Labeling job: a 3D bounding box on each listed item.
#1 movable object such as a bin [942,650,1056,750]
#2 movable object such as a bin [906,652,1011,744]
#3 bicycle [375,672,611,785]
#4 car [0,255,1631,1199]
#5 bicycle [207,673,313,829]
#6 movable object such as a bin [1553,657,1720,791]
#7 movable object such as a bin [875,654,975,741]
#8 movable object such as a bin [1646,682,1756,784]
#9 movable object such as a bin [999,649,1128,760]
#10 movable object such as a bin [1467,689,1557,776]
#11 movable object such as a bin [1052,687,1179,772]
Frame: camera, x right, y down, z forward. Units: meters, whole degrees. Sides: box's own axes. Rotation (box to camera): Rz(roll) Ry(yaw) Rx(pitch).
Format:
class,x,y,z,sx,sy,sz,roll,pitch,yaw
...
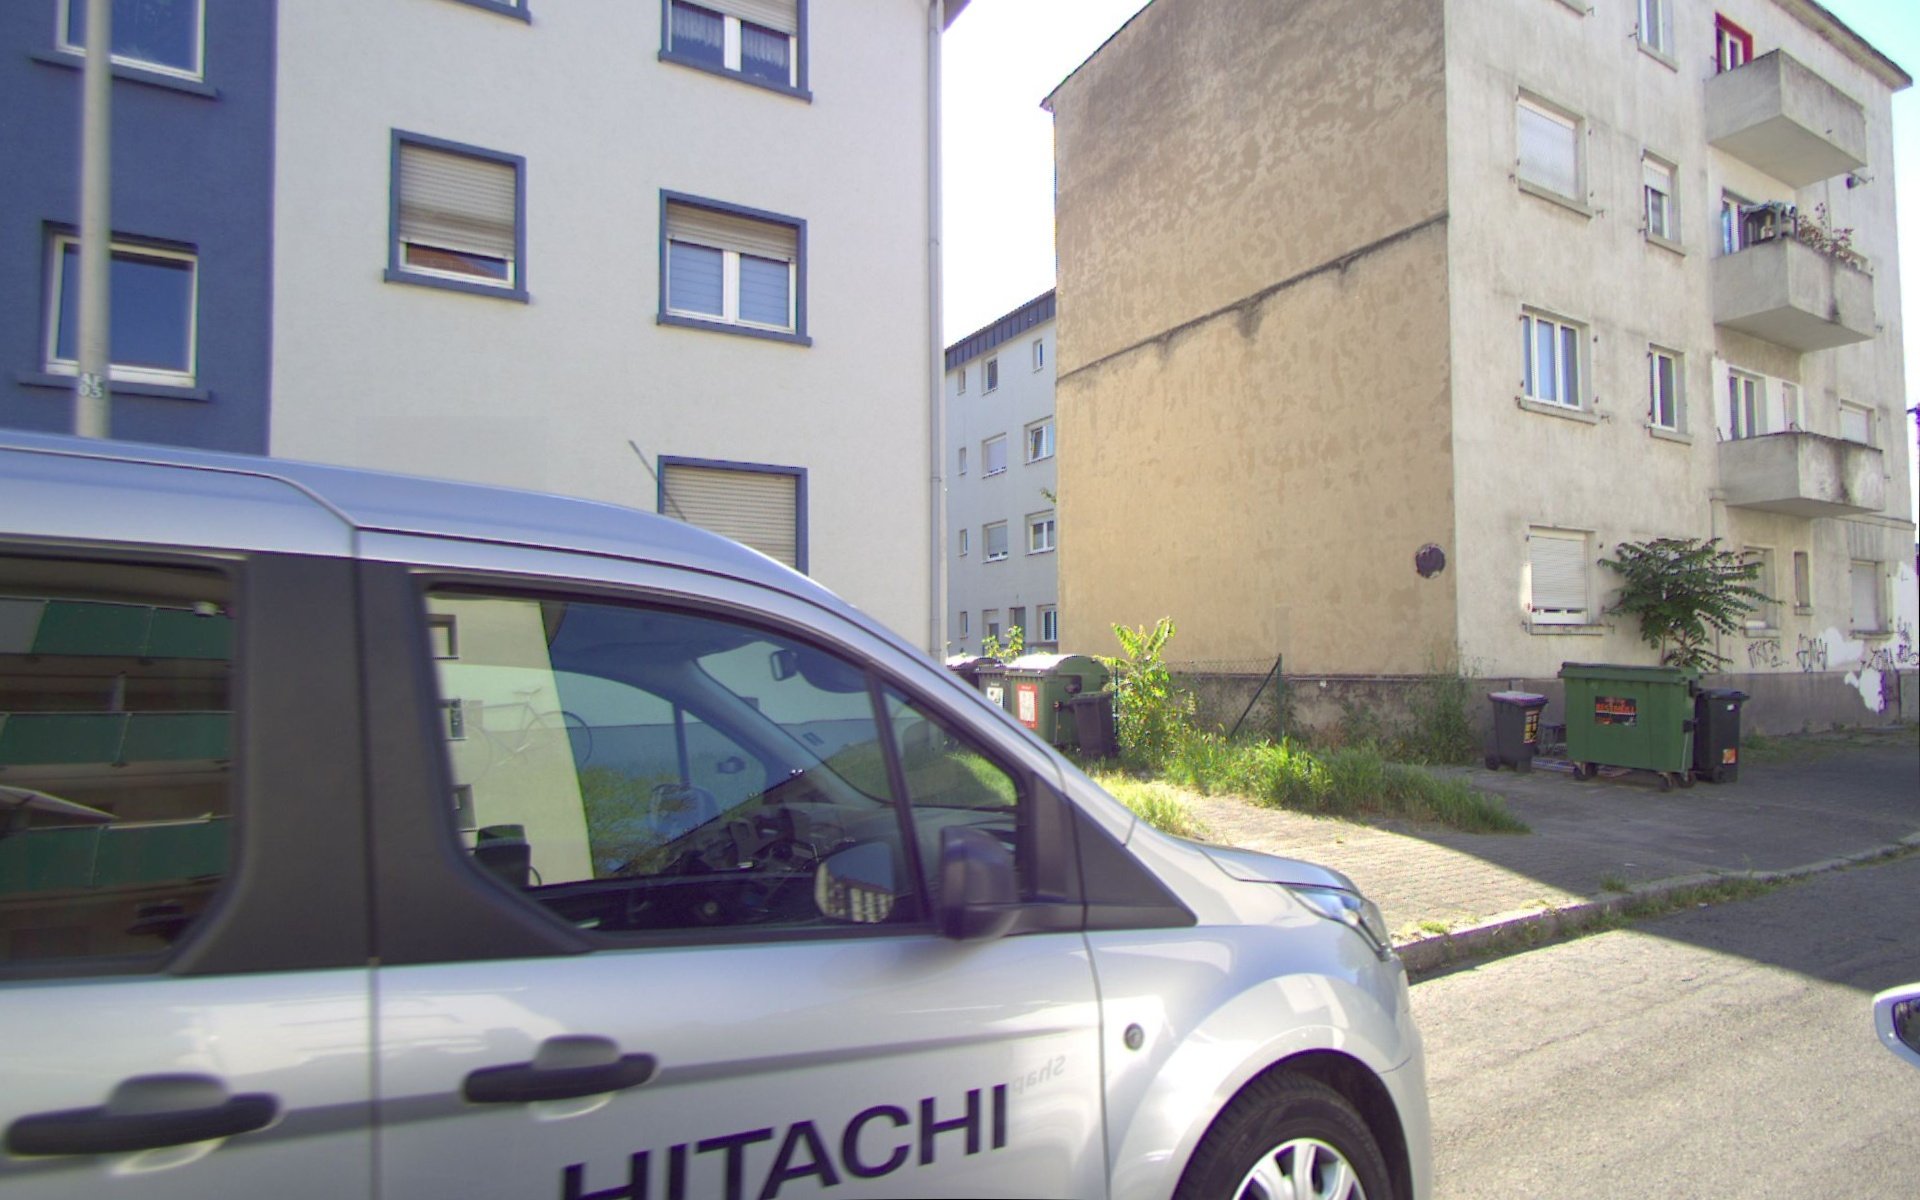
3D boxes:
class,x,y,z,sx,sy,sz,roll,pitch,yaw
movable object such as a bin,0.600,1.542,15.712,1.420,1.475,1.125,3,-5,-30
movable object such as a bin,-0.032,1.638,16.885,1.420,1.464,1.125,3,-5,-30
bicycle,-4.560,1.228,9.893,2.050,0.974,0.497,2,0,-30
car,-0.992,0.672,1.964,4.891,1.853,1.793,2,-6,-30
bicycle,-5.680,1.159,8.231,0.495,0.974,2.058,1,0,-29
movable object such as a bin,7.690,1.361,11.452,1.033,1.394,1.249,2,-3,-31
movable object such as a bin,-0.629,1.725,17.888,1.420,1.464,1.125,3,-5,-30
movable object such as a bin,8.653,1.524,11.735,0.807,1.093,0.769,2,-3,-31
movable object such as a bin,1.437,1.443,14.078,1.420,1.452,1.125,3,-5,-30
movable object such as a bin,6.771,1.601,12.332,0.584,0.987,0.769,2,-3,-30
movable object such as a bin,2.005,1.645,13.026,1.190,1.012,1.125,3,-5,-30
